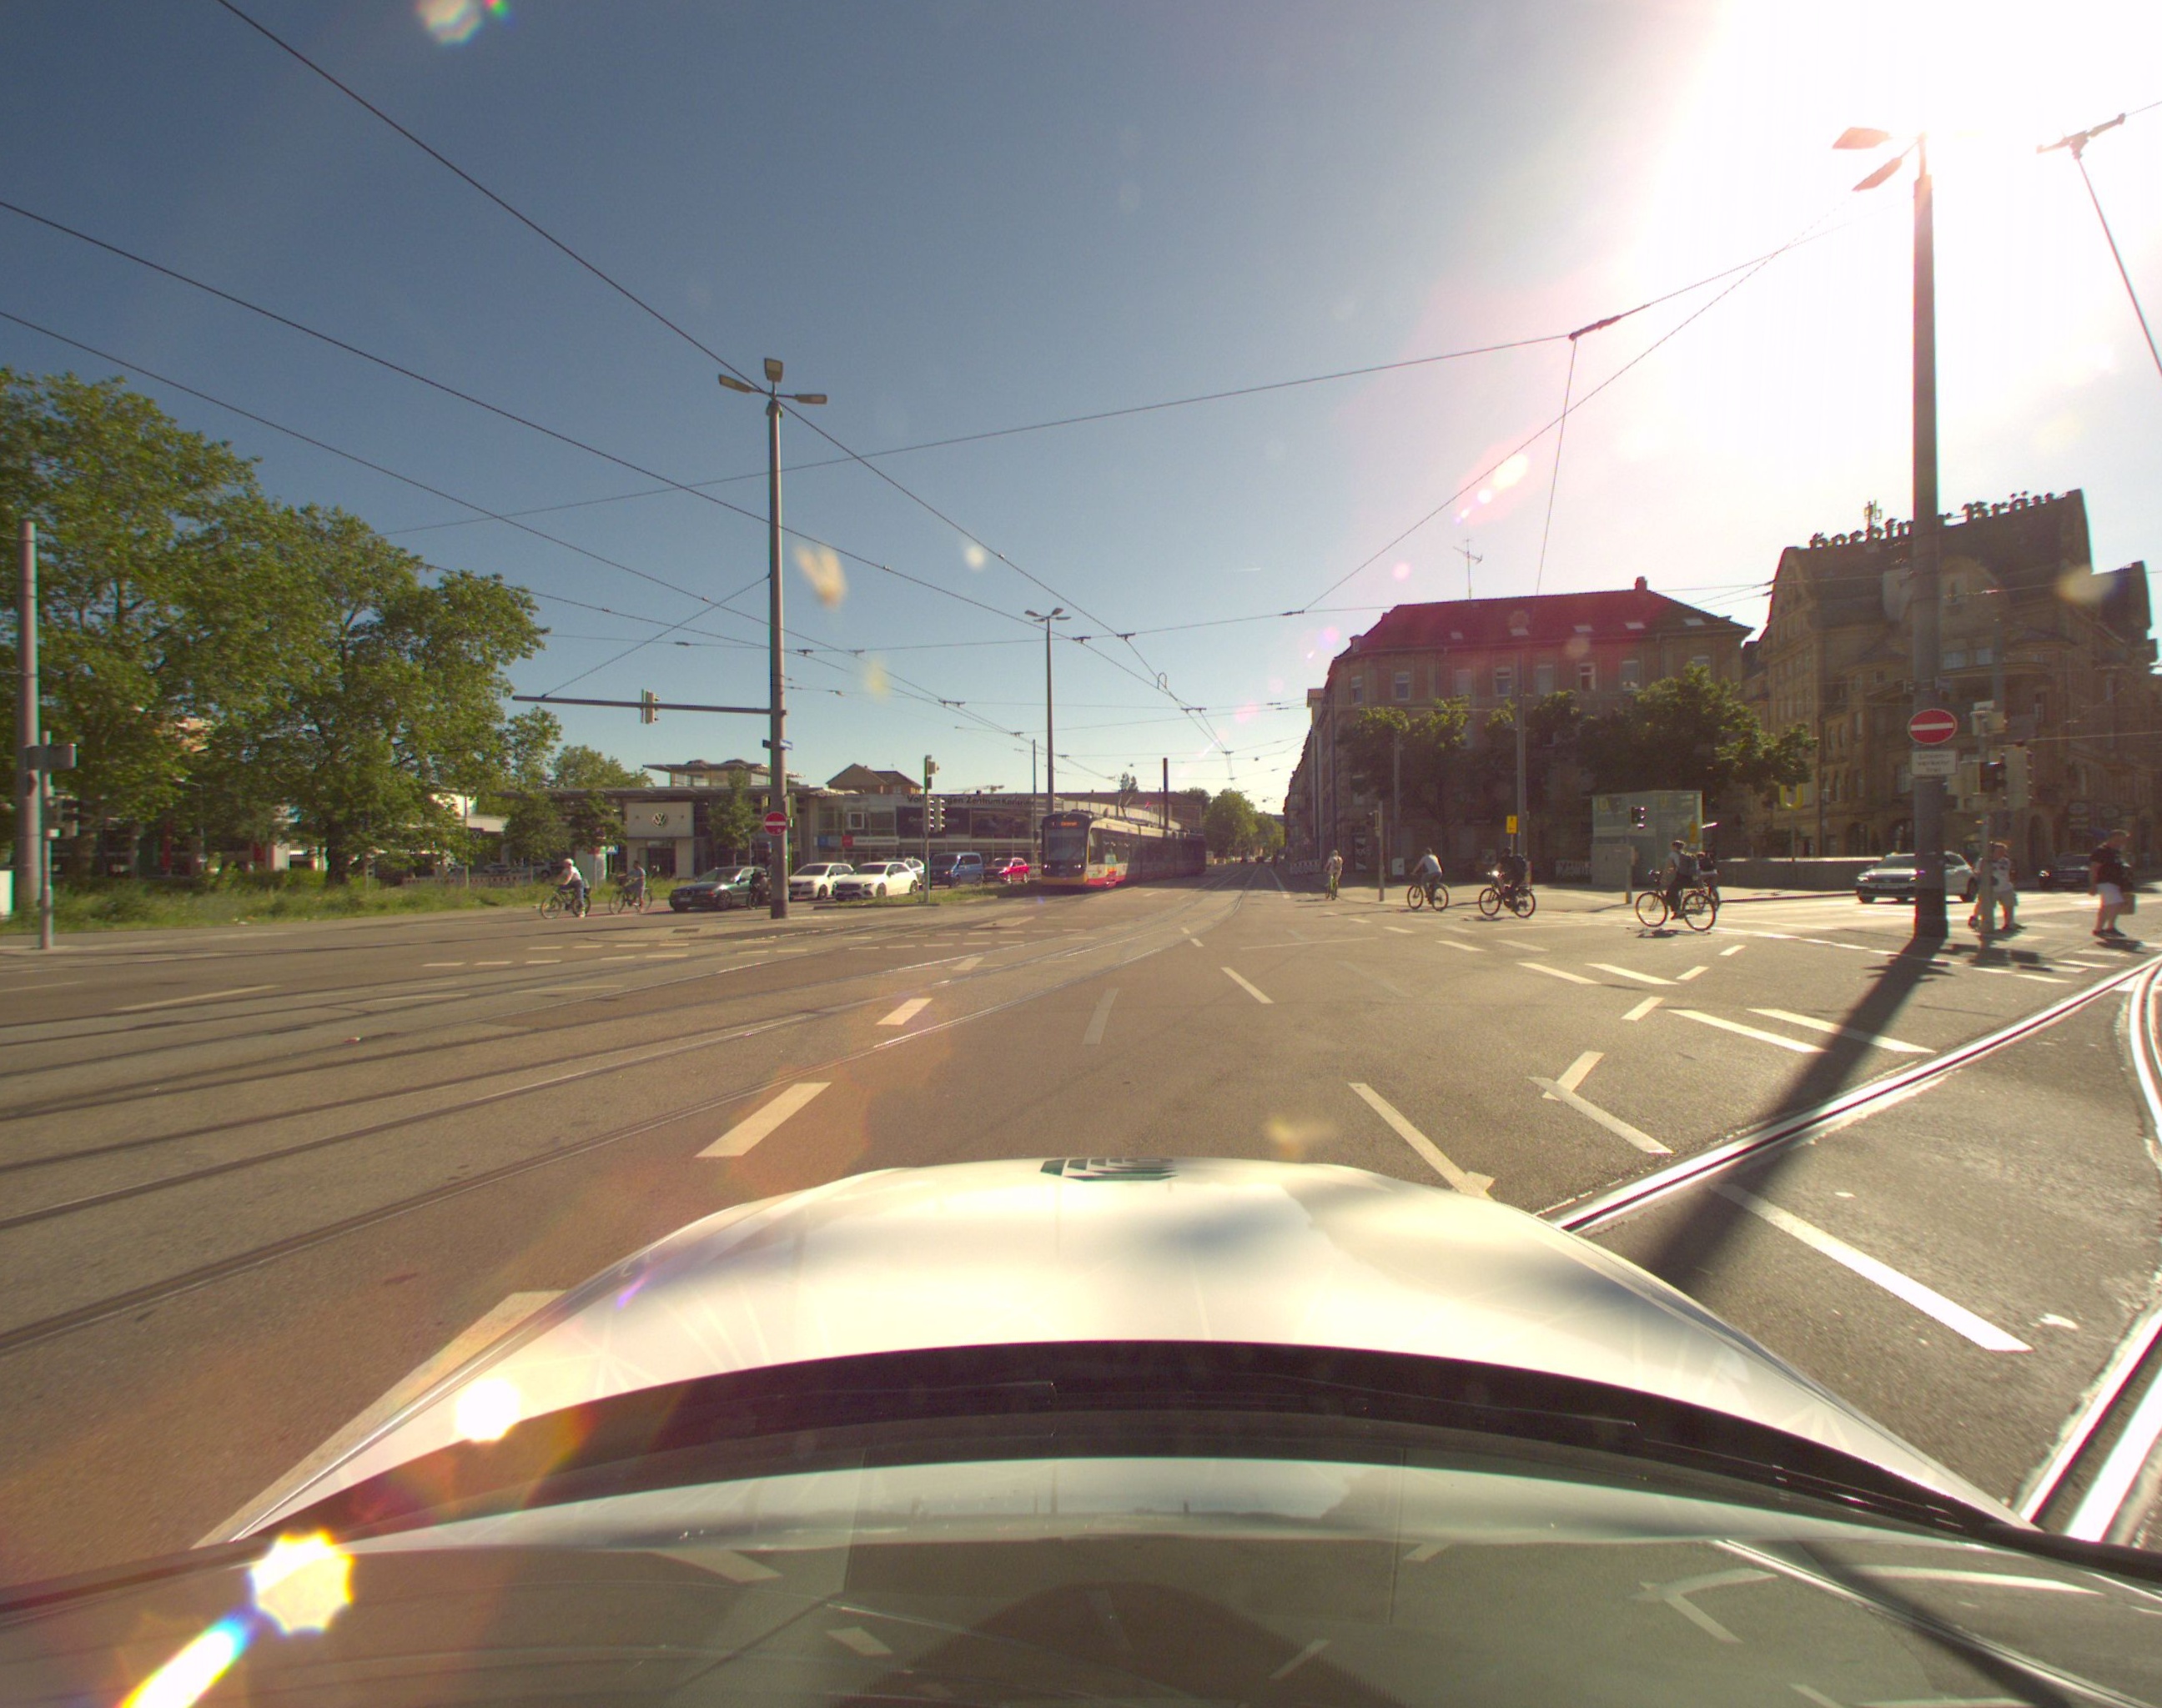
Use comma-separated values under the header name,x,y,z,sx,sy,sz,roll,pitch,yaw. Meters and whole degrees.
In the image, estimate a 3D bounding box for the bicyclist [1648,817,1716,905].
name,x,y,z,sx,sy,sz,roll,pitch,yaw
bicyclist,11.427,0.129,15.501,0.549,1.613,0.952,1,-1,-4

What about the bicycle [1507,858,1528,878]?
name,x,y,z,sx,sy,sz,roll,pitch,yaw
bicycle,24.321,0.783,45.439,0.402,1.061,1.351,1,-1,-2

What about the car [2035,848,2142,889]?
name,x,y,z,sx,sy,sz,roll,pitch,yaw
car,42.881,0.614,34.652,4.259,1.687,1.903,0,-2,-26

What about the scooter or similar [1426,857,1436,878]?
name,x,y,z,sx,sy,sz,roll,pitch,yaw
scooter or similar,19.853,0.751,46.217,0.268,1.185,1.570,1,-1,14

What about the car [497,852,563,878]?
name,x,y,z,sx,sy,sz,roll,pitch,yaw
car,-45.526,0.924,67.349,3.983,2.014,1.995,1,-1,-8

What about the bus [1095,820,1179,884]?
name,x,y,z,sx,sy,sz,roll,pitch,yaw
bus,3.772,-0.115,51.335,2.818,3.589,10.774,0,0,18

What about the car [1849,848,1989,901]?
name,x,y,z,sx,sy,sz,roll,pitch,yaw
car,27.290,0.657,26.511,4.259,1.621,1.903,0,-2,-26

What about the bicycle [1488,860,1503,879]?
name,x,y,z,sx,sy,sz,roll,pitch,yaw
bicycle,23.257,0.872,45.715,0.400,1.061,1.357,1,-1,14

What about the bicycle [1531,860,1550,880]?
name,x,y,z,sx,sy,sz,roll,pitch,yaw
bicycle,25.756,0.898,45.662,0.401,1.061,1.465,1,-1,9

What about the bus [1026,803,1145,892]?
name,x,y,z,sx,sy,sz,roll,pitch,yaw
bus,0.671,-0.247,39.866,2.821,3.589,13.544,0,0,13

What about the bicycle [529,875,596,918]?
name,x,y,z,sx,sy,sz,roll,pitch,yaw
bicycle,-15.345,1.239,24.155,0.534,1.184,1.760,-1,0,13

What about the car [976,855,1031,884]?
name,x,y,z,sx,sy,sz,roll,pitch,yaw
car,-4.894,0.966,52.056,1.784,1.719,4.437,-1,-1,18

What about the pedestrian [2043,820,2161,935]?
name,x,y,z,sx,sy,sz,roll,pitch,yaw
pedestrian,18.020,0.399,14.357,0.925,1.929,1.051,1,-1,9

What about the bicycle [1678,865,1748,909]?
name,x,y,z,sx,sy,sz,roll,pitch,yaw
bicycle,18.088,0.927,23.357,0.529,1.117,1.935,1,1,3

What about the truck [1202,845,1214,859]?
name,x,y,z,sx,sy,sz,roll,pitch,yaw
truck,27.077,-0.395,173.526,2.523,2.830,6.392,1,0,9

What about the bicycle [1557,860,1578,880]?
name,x,y,z,sx,sy,sz,roll,pitch,yaw
bicycle,26.836,0.891,44.938,0.401,1.061,1.465,1,-1,7

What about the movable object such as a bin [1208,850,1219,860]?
name,x,y,z,sx,sy,sz,roll,pitch,yaw
movable object such as a bin,33.202,0.261,204.069,2.480,2.645,6.006,1,0,10

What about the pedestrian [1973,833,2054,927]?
name,x,y,z,sx,sy,sz,roll,pitch,yaw
pedestrian,18.071,0.491,15.803,0.655,1.757,0.826,1,-1,9

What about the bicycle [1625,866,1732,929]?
name,x,y,z,sx,sy,sz,roll,pitch,yaw
bicycle,11.408,0.801,15.633,0.530,1.117,1.931,1,-1,-4

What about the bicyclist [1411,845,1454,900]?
name,x,y,z,sx,sy,sz,roll,pitch,yaw
bicyclist,10.362,0.532,24.014,0.783,1.593,0.881,0,-1,-14

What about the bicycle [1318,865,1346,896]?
name,x,y,z,sx,sy,sz,roll,pitch,yaw
bicycle,9.441,0.997,30.723,0.529,1.117,1.935,1,-1,3

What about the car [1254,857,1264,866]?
name,x,y,z,sx,sy,sz,roll,pitch,yaw
car,40.872,1.703,186.903,1.980,2.014,4.014,1,-1,13

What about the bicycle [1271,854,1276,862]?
name,x,y,z,sx,sy,sz,roll,pitch,yaw
bicycle,26.862,0.509,113.809,0.676,1.114,2.716,1,0,12

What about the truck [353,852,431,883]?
name,x,y,z,sx,sy,sz,roll,pitch,yaw
truck,-52.925,1.031,62.606,4.190,2.221,1.999,1,-1,-1

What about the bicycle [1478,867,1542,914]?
name,x,y,z,sx,sy,sz,roll,pitch,yaw
bicycle,10.690,0.884,20.364,0.530,1.117,1.932,0,-1,-1

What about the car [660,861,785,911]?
name,x,y,z,sx,sy,sz,roll,pitch,yaw
car,-11.628,0.994,26.704,1.638,1.479,3.985,-2,-1,13

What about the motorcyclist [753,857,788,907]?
name,x,y,z,sx,sy,sz,roll,pitch,yaw
motorcyclist,-9.964,0.883,26.180,0.581,1.580,0.947,-1,-1,14

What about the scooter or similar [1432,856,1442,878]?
name,x,y,z,sx,sy,sz,roll,pitch,yaw
scooter or similar,20.165,0.730,46.139,0.268,1.196,1.570,1,-1,14

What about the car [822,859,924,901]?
name,x,y,z,sx,sy,sz,roll,pitch,yaw
car,-7.809,0.937,31.052,1.790,1.432,4.557,1,0,14

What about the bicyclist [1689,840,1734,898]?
name,x,y,z,sx,sy,sz,roll,pitch,yaw
bicyclist,18.153,0.427,23.476,0.595,1.613,0.954,1,-1,4

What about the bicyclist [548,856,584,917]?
name,x,y,z,sx,sy,sz,roll,pitch,yaw
bicyclist,-15.312,0.947,24.207,0.570,1.742,0.680,1,1,14

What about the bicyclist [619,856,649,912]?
name,x,y,z,sx,sy,sz,roll,pitch,yaw
bicyclist,-14.137,0.935,25.761,0.570,1.742,0.603,1,1,13

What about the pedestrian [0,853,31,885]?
name,x,y,z,sx,sy,sz,roll,pitch,yaw
pedestrian,-67.600,0.950,51.432,1.111,2.014,1.167,2,-1,-29

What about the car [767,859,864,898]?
name,x,y,z,sx,sy,sz,roll,pitch,yaw
car,-10.514,0.927,32.546,1.790,1.432,4.014,1,0,14

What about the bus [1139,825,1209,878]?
name,x,y,z,sx,sy,sz,roll,pitch,yaw
bus,7.263,-0.164,61.867,2.817,3.589,11.326,0,0,19

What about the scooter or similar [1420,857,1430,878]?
name,x,y,z,sx,sy,sz,roll,pitch,yaw
scooter or similar,19.544,0.745,46.276,0.268,1.185,1.570,1,-1,14

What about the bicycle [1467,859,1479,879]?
name,x,y,z,sx,sy,sz,roll,pitch,yaw
bicycle,22.086,0.836,45.896,0.400,1.061,1.489,1,-1,18

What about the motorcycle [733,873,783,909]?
name,x,y,z,sx,sy,sz,roll,pitch,yaw
motorcycle,-10.122,1.145,25.581,0.515,1.047,1.754,-1,0,15

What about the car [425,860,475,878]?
name,x,y,z,sx,sy,sz,roll,pitch,yaw
car,-67.076,1.564,86.618,1.984,1.798,4.005,1,0,5

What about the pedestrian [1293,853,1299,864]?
name,x,y,z,sx,sy,sz,roll,pitch,yaw
pedestrian,30.147,0.631,114.349,0.792,1.605,0.655,-1,-1,15

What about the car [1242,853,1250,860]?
name,x,y,z,sx,sy,sz,roll,pitch,yaw
car,42.404,0.588,209.215,1.746,1.697,4.159,1,0,14

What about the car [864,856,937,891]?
name,x,y,z,sx,sy,sz,roll,pitch,yaw
car,-8.666,0.910,39.471,1.790,1.578,4.180,-1,-1,13

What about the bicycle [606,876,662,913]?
name,x,y,z,sx,sy,sz,roll,pitch,yaw
bicycle,-14.160,1.270,25.840,0.534,1.074,1.661,-1,0,13

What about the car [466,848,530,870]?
name,x,y,z,sx,sy,sz,roll,pitch,yaw
car,-49.933,0.438,69.836,3.971,1.757,2.001,1,-1,2

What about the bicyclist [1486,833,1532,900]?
name,x,y,z,sx,sy,sz,roll,pitch,yaw
bicyclist,10.680,0.305,20.337,0.621,1.613,0.981,1,-1,0

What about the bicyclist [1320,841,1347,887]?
name,x,y,z,sx,sy,sz,roll,pitch,yaw
bicyclist,9.503,0.369,30.662,0.678,1.683,1.121,1,-1,3

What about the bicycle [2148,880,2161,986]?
name,x,y,z,sx,sy,sz,roll,pitch,yaw
bicycle,11.980,0.856,8.066,0.528,1.159,1.870,-2,-1,8

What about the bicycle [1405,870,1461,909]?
name,x,y,z,sx,sy,sz,roll,pitch,yaw
bicycle,10.333,1.025,23.958,0.387,1.069,1.924,-1,-1,-15

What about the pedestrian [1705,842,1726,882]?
name,x,y,z,sx,sy,sz,roll,pitch,yaw
pedestrian,29.735,0.360,38.162,0.652,1.849,0.542,2,-1,-30

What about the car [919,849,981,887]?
name,x,y,z,sx,sy,sz,roll,pitch,yaw
car,-7.144,0.764,44.790,1.789,1.933,4.181,-1,-1,15

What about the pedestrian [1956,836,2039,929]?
name,x,y,z,sx,sy,sz,roll,pitch,yaw
pedestrian,17.126,0.520,15.242,0.655,1.677,0.826,1,-1,9
